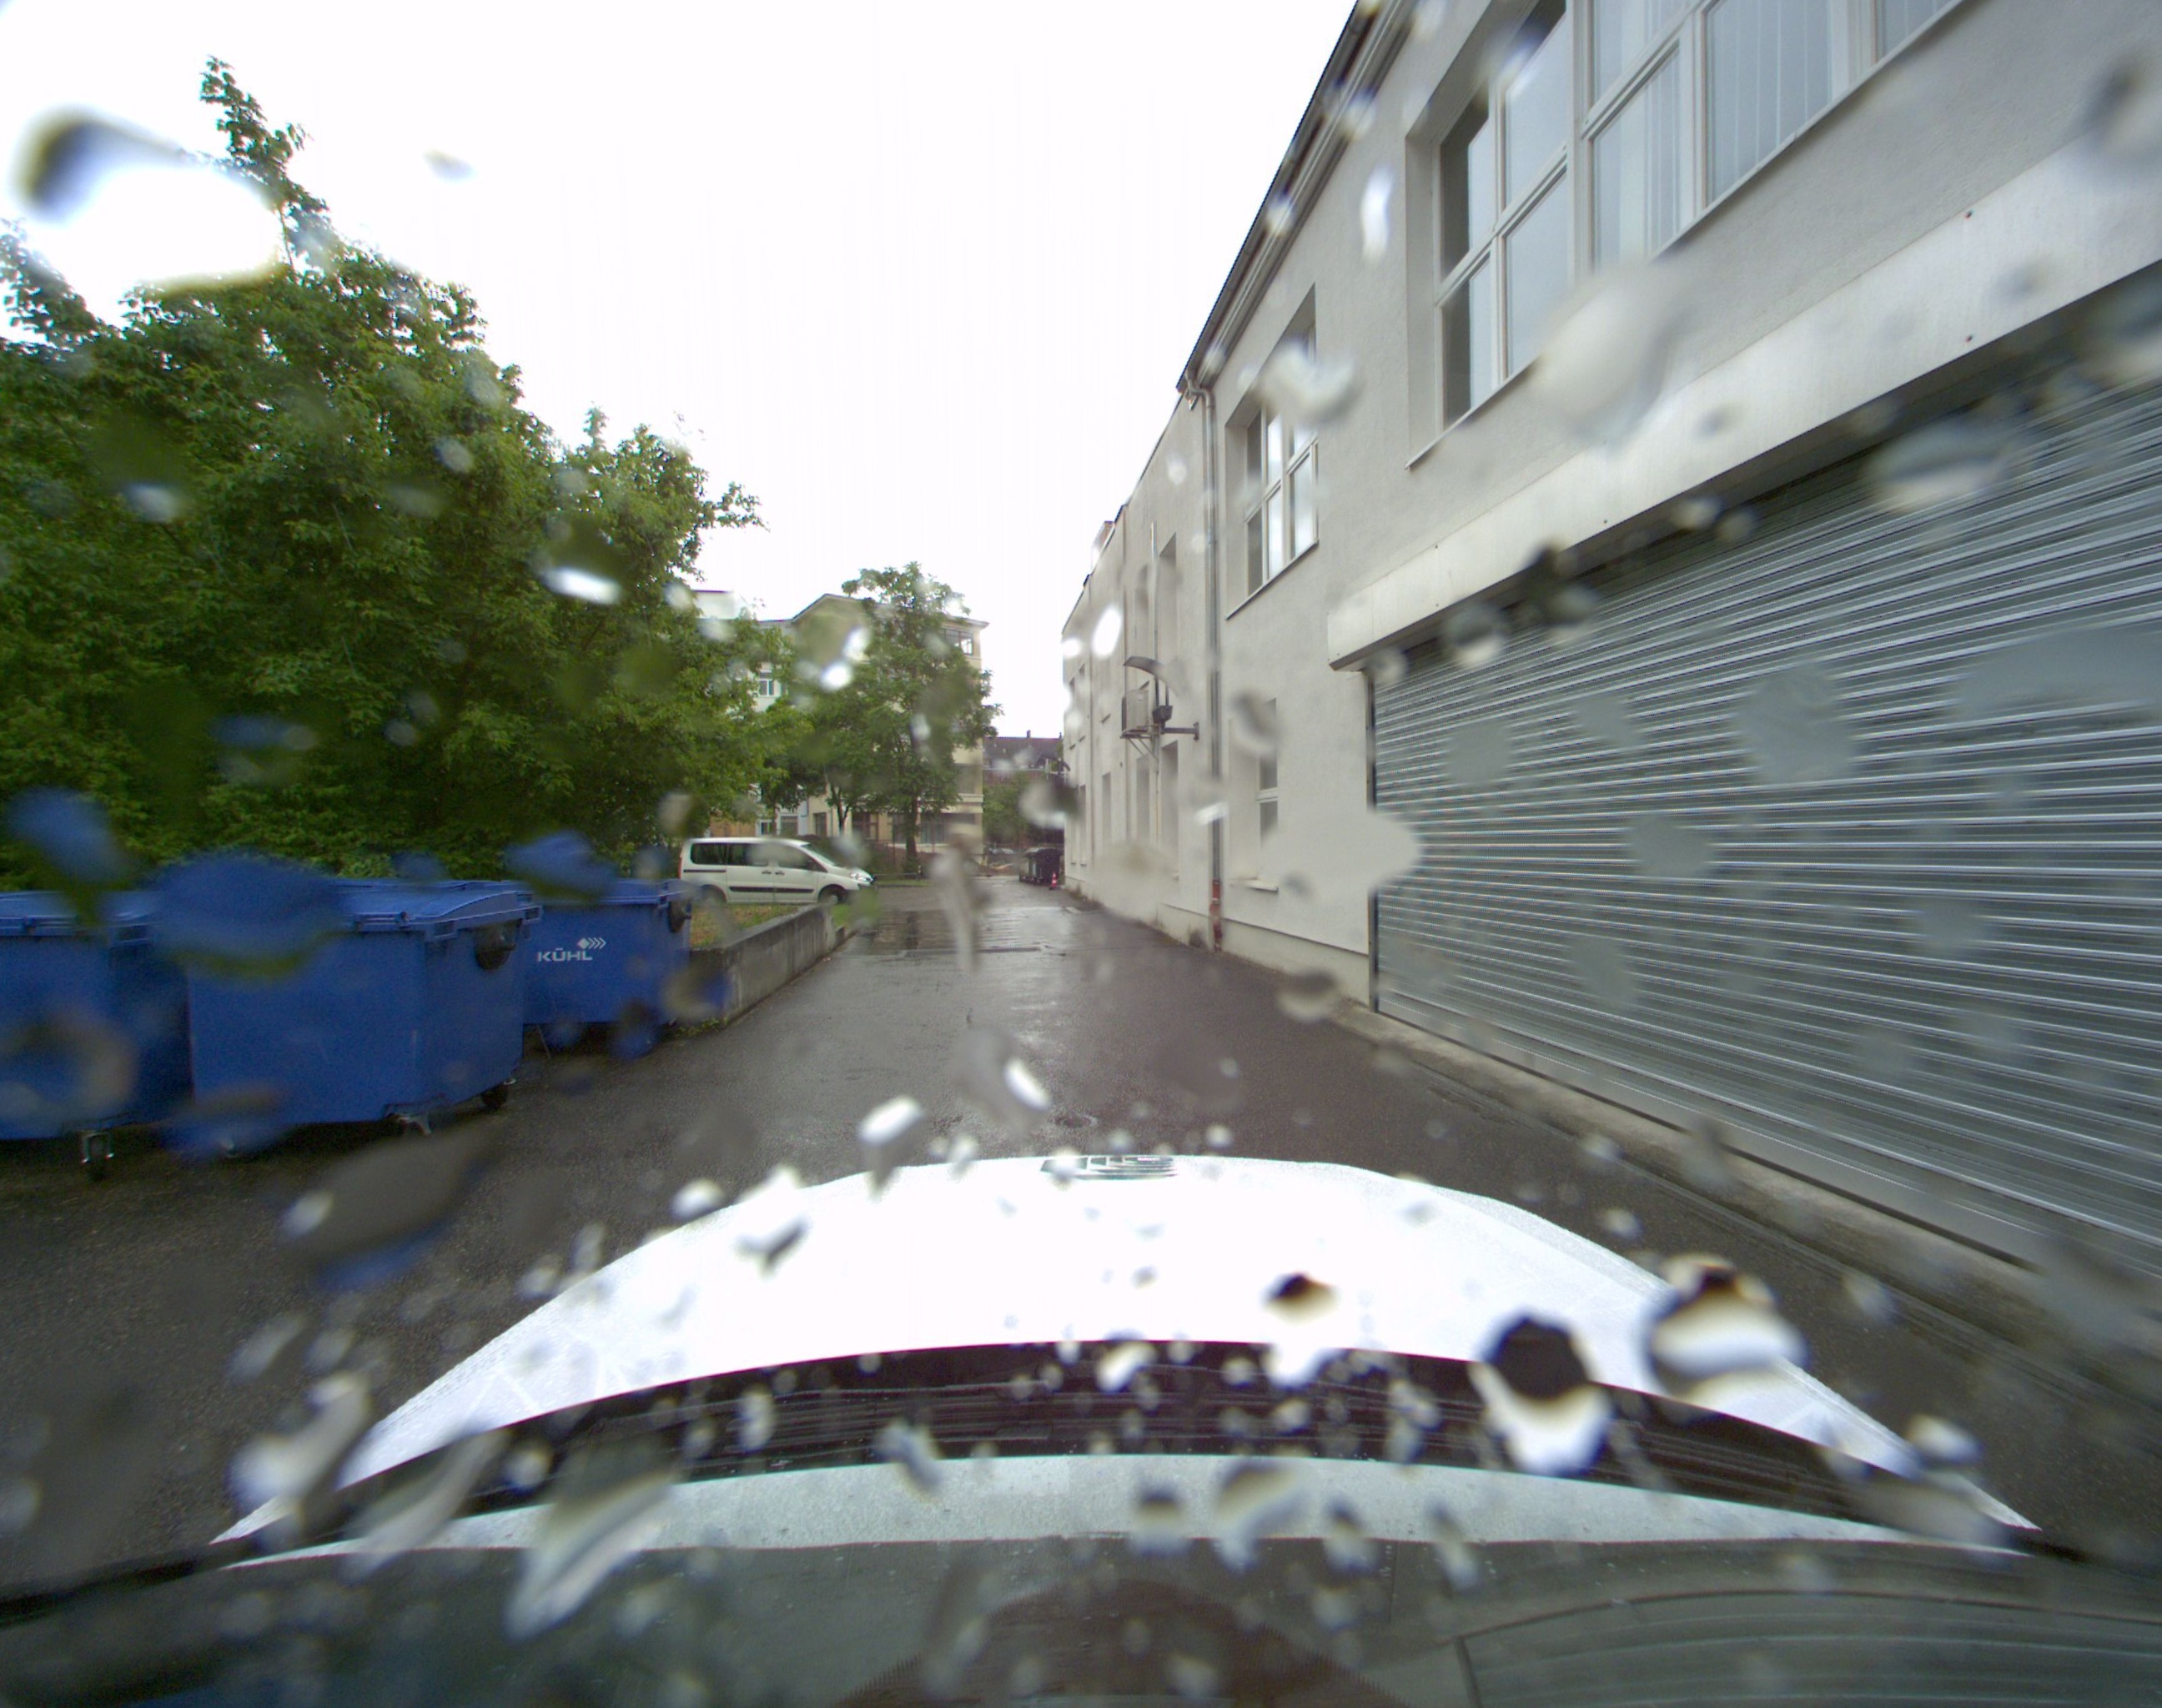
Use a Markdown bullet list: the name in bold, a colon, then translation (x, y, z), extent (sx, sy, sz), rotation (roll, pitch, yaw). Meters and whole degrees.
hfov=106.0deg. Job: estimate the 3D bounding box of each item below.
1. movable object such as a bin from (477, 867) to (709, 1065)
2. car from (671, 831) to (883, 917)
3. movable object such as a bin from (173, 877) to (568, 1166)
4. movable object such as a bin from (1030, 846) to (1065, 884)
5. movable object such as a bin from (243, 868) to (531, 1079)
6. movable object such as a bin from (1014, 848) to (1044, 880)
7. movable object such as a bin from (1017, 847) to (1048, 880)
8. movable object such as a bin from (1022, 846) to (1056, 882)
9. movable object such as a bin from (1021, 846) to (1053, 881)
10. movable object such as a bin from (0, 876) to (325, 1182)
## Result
- **movable object such as a bin**: translation (-3.690, 0.797, 6.300), extent (1.221, 1.337, 1.004), rotation (-1, 1, -8)
- **car**: translation (-7.745, 0.461, 21.222), extent (4.777, 2.013, 1.995), rotation (-2, 1, -8)
- **movable object such as a bin**: translation (-3.804, 0.824, 4.527), extent (1.200, 1.337, 1.115), rotation (-1, 0, -4)
- **movable object such as a bin**: translation (-1.306, 0.417, 31.649), extent (1.215, 1.437, 1.231), rotation (0, -2, -11)
- **movable object such as a bin**: translation (-4.982, 0.805, 5.971), extent (1.221, 1.337, 1.004), rotation (-1, 2, -8)
- **movable object such as a bin**: translation (-2.406, 0.475, 37.611), extent (1.215, 1.437, 1.254), rotation (0, -2, -11)
- **movable object such as a bin**: translation (-2.180, 0.433, 36.255), extent (1.215, 1.437, 1.254), rotation (0, -2, -11)
- **movable object such as a bin**: translation (-1.714, 0.418, 33.293), extent (1.215, 1.437, 1.289), rotation (0, -2, -11)
- **movable object such as a bin**: translation (-1.915, 0.426, 34.908), extent (1.215, 1.468, 1.231), rotation (0, -2, -11)
- **movable object such as a bin**: translation (-5.107, 0.826, 4.294), extent (1.202, 1.337, 1.114), rotation (1, 2, -8)
